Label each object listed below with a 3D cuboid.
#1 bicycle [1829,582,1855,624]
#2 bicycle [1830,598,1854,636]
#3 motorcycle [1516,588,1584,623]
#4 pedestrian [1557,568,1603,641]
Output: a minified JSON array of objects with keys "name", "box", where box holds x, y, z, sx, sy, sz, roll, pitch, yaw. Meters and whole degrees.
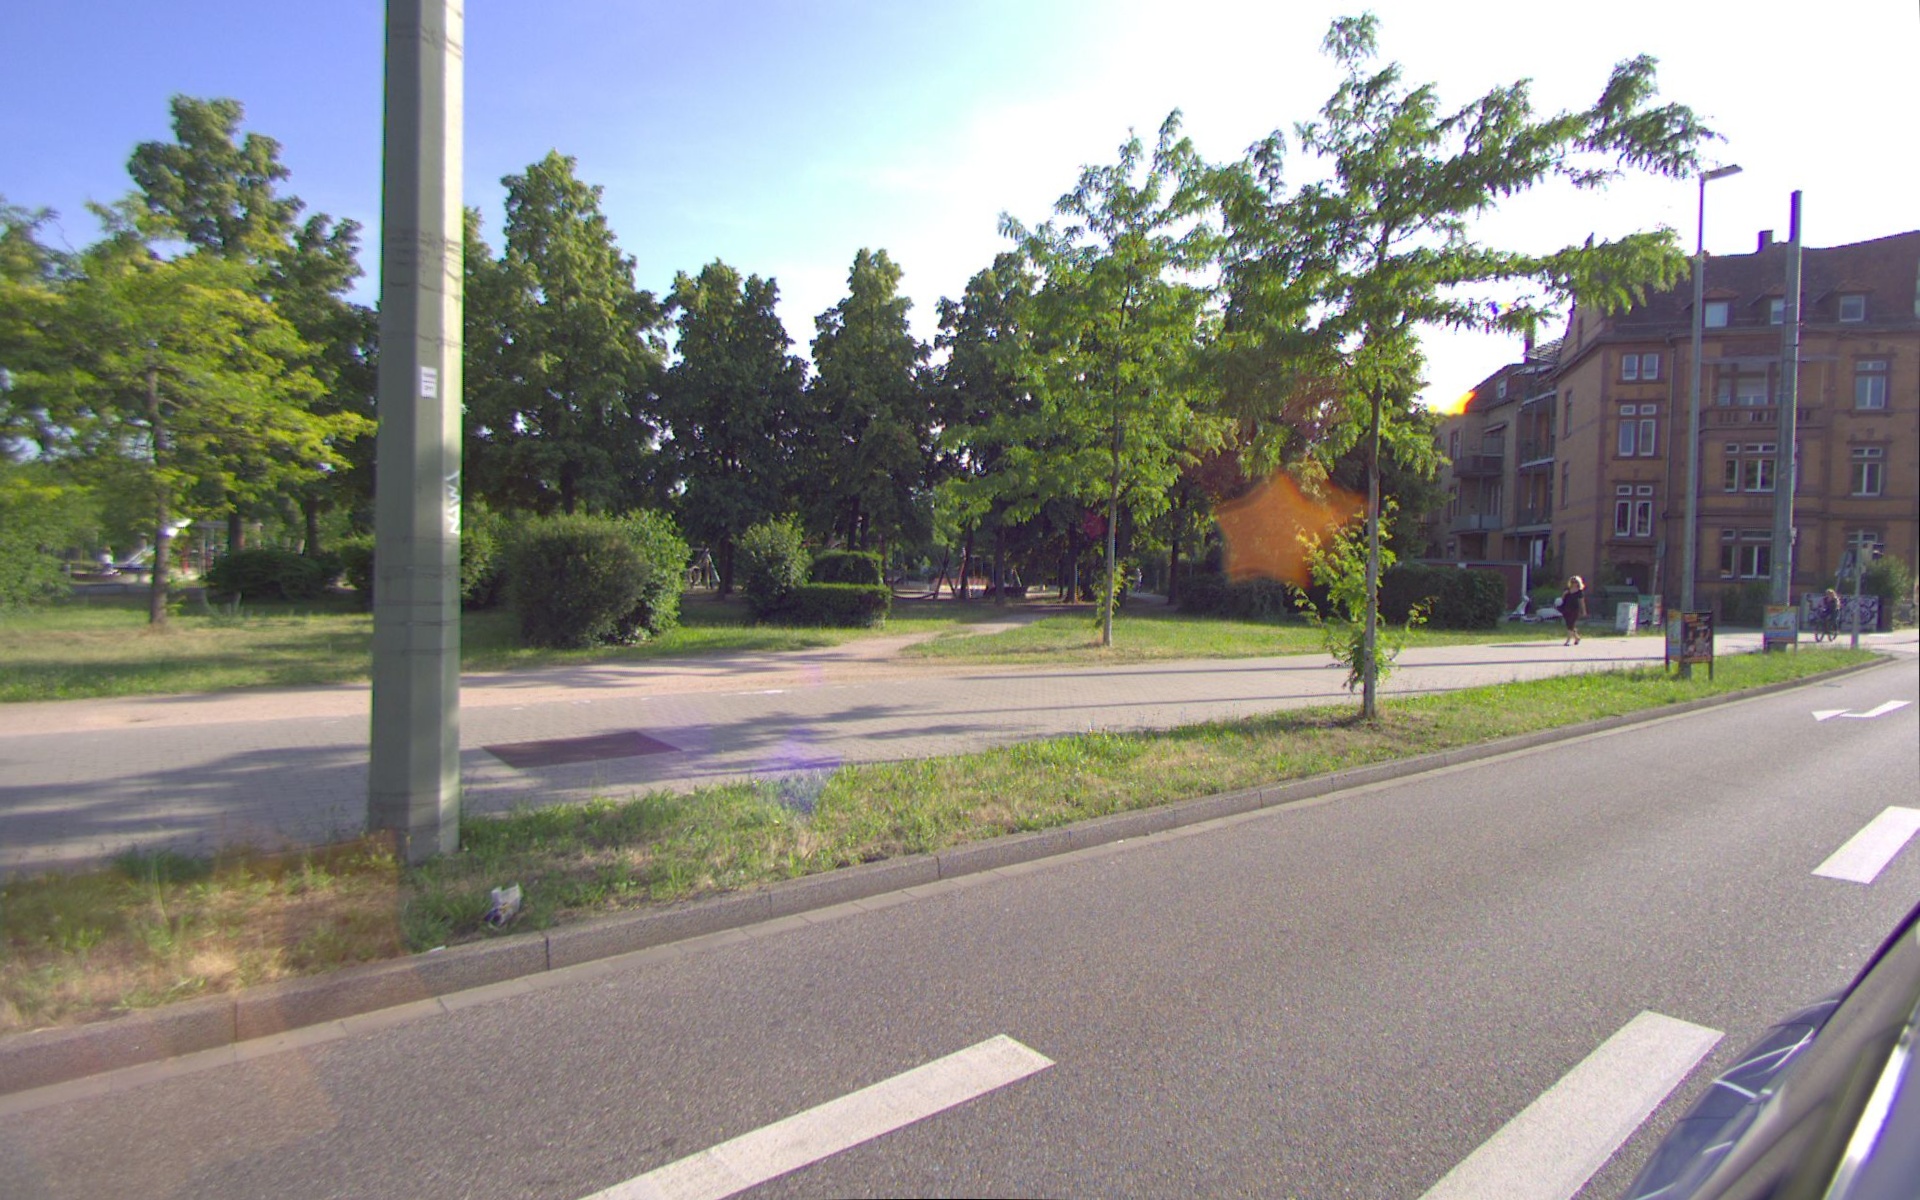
[{"name":"bicycle","box":[28.309,0.085,32.474,0.677,1.314,0.573,1,1,-44]},{"name":"bicycle","box":[28.332,0.530,32.513,0.483,1.205,1.317,1,1,45]},{"name":"motorcycle","box":[21.106,0.191,36.227,0.696,1.174,1.997,1,1,-45]},{"name":"pedestrian","box":[15.165,0.094,24.758,0.538,1.711,0.617,1,6,-36]}]
